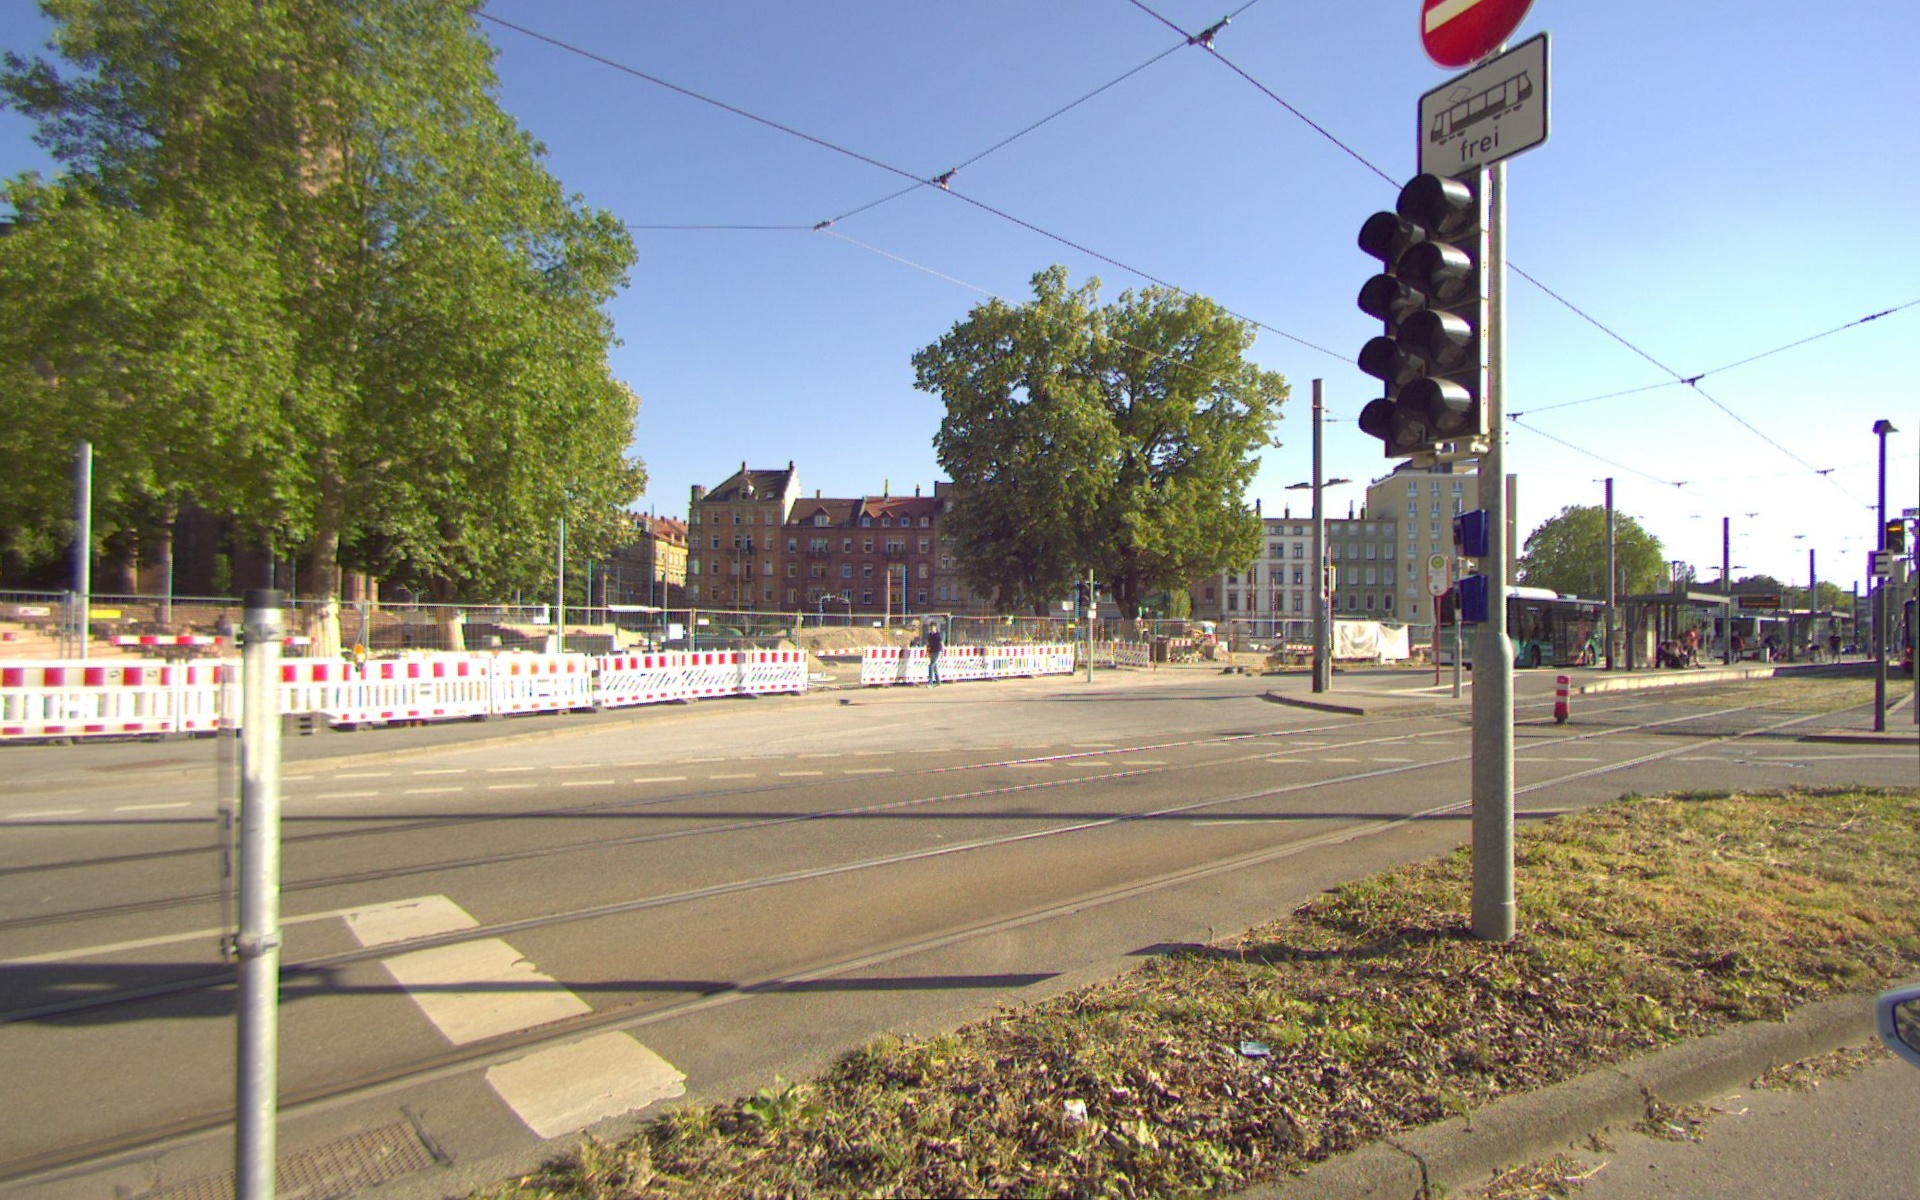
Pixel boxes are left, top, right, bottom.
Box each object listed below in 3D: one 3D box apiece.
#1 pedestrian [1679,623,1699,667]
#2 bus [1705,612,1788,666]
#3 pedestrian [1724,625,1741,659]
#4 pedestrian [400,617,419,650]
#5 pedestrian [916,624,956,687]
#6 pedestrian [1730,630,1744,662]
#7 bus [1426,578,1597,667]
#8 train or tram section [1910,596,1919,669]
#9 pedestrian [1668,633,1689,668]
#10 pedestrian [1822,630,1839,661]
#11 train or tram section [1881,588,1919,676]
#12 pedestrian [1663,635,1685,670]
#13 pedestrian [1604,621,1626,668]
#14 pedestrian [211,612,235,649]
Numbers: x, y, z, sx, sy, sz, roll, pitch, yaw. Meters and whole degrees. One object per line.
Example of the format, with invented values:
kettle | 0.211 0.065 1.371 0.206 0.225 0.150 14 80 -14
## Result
pedestrian | 29.560 1.815 40.727 0.564 1.772 0.636 -1 -2 43
bus | 53.959 2.637 68.748 13.376 3.317 2.694 2 0 -44
pedestrian | 39.801 2.159 51.746 0.629 1.772 0.570 -1 -2 34
pedestrian | -27.695 1.680 50.530 0.751 1.669 0.671 1 -1 -26
pedestrian | -0.680 1.571 28.196 0.699 1.719 0.899 -1 -4 33
pedestrian | 44.695 2.643 57.764 0.564 1.772 0.636 -1 -2 41
bus | 21.999 0.904 39.749 9.564 3.177 2.631 2 0 -40
train or tram section | 53.890 1.824 53.780 12.100 3.644 2.987 2 0 -40
pedestrian | 28.181 1.987 39.407 0.564 1.363 0.636 -1 -2 43
pedestrian | 48.804 2.546 56.286 0.629 1.772 0.570 -1 -2 34
train or tram section | 44.753 1.496 45.827 12.108 3.644 2.855 2 0 -42
pedestrian | 27.672 2.023 38.931 0.609 1.358 0.438 -1 -2 44
pedestrian | 25.145 1.705 38.538 0.554 1.772 0.534 2 -2 -35
pedestrian | -33.502 1.399 45.687 0.665 1.669 0.635 1 -1 -18
